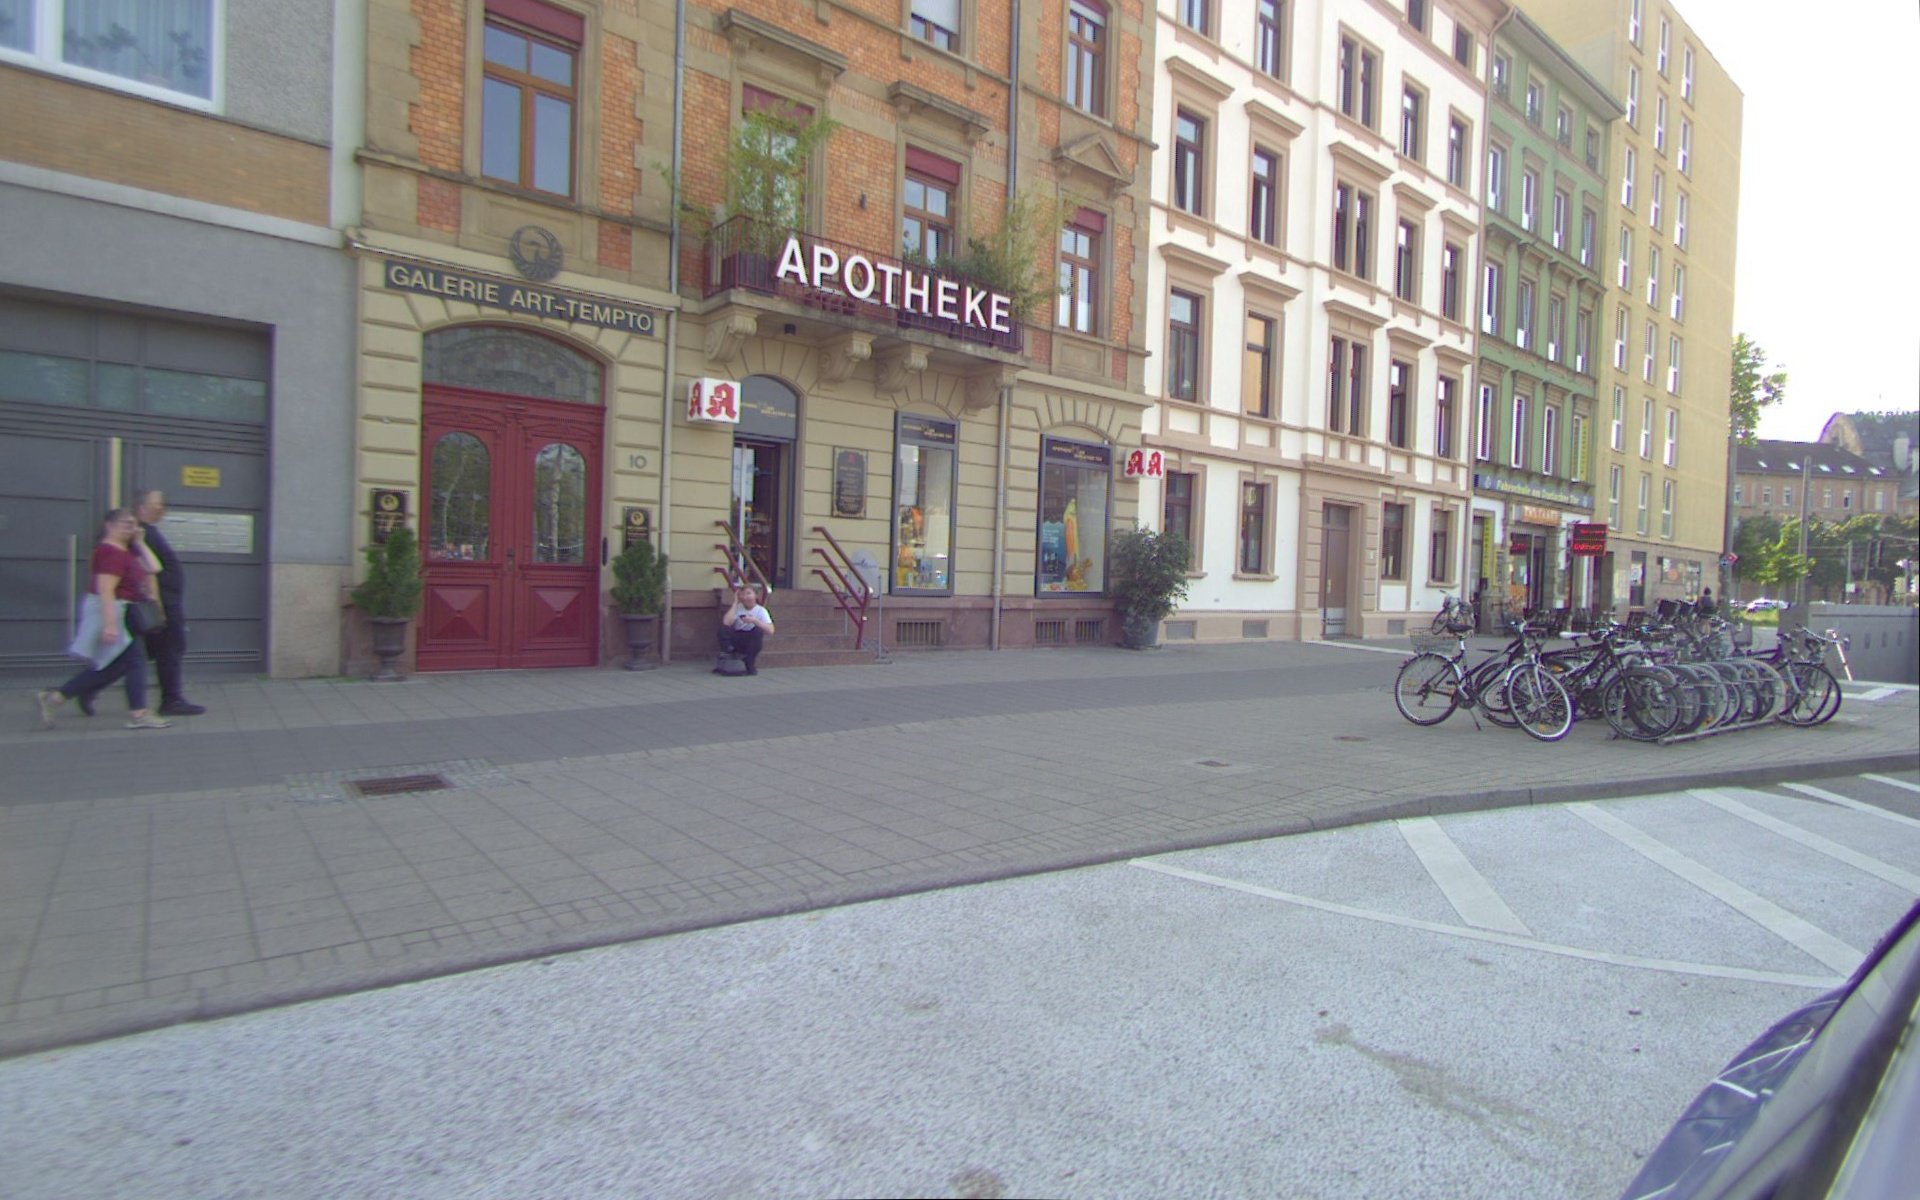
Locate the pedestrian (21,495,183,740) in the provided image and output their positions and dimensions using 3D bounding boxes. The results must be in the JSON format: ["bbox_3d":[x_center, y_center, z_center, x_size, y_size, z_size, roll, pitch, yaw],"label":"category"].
[{"bbox_3d":[-6.122,0.105,7.268,0.840,1.630,0.722,0,2,-38],"label":"pedestrian"}]

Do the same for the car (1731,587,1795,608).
[{"bbox_3d":[62.580,-0.182,78.961,1.766,1.459,3.637,2,2,-8],"label":"car"}]

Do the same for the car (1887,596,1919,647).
[{"bbox_3d":[30.612,0.697,30.568,3.471,1.482,1.619,1,2,10],"label":"car"}]

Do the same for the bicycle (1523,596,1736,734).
[{"bbox_3d":[6.412,0.579,9.765,0.379,1.162,1.635,0,2,-43],"label":"bicycle"}]

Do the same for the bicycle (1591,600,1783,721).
[{"bbox_3d":[7.946,0.622,11.119,0.379,1.162,1.635,0,2,-43],"label":"bicycle"}]

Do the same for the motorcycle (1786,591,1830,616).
[{"bbox_3d":[41.747,0.192,49.820,2.253,1.161,0.707,1,2,-23],"label":"motorcycle"}]

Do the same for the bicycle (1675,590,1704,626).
[{"bbox_3d":[27.025,0.300,37.474,0.602,1.276,1.966,3,2,43],"label":"bicycle"}]

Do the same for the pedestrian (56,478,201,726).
[{"bbox_3d":[-6.487,0.000,7.937,0.840,1.809,0.722,0,2,-38],"label":"pedestrian"}]

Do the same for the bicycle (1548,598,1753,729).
[{"bbox_3d":[6.928,0.595,10.230,0.379,1.162,1.635,0,2,-43],"label":"bicycle"}]

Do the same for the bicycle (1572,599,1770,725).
[{"bbox_3d":[7.437,0.609,10.655,0.379,1.162,1.635,0,2,-43],"label":"bicycle"}]

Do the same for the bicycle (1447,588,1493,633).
[{"bbox_3d":[13.398,0.274,26.581,1.688,1.148,0.384,0,2,-39],"label":"bicycle"}]

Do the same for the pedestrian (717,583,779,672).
[{"bbox_3d":[-2.496,0.313,11.885,0.623,0.994,0.615,1,2,-19],"label":"pedestrian"}]

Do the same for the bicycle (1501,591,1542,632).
[{"bbox_3d":[16.109,0.328,29.024,1.688,1.148,0.384,0,2,-39],"label":"bicycle"}]

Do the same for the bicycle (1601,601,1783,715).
[{"bbox_3d":[8.489,0.634,11.798,0.379,1.162,1.635,0,2,-43],"label":"bicycle"}]

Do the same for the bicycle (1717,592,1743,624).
[{"bbox_3d":[31.355,0.314,41.217,1.607,1.276,0.470,0,2,-40],"label":"bicycle"}]

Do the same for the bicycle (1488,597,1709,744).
[{"bbox_3d":[5.792,0.592,9.259,0.379,1.162,1.635,0,2,-43],"label":"bicycle"}]

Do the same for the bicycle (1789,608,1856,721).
[{"bbox_3d":[9.783,0.696,11.466,0.407,1.163,1.629,3,2,45],"label":"bicycle"}]

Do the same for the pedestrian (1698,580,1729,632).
[{"bbox_3d":[24.518,0.185,32.932,0.724,1.649,0.610,0,2,-38],"label":"pedestrian"}]

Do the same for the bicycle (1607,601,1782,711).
[{"bbox_3d":[8.799,0.638,12.180,0.379,1.162,1.635,0,2,-43],"label":"bicycle"}]

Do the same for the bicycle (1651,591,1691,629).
[{"bbox_3d":[25.150,0.337,35.773,1.961,1.276,0.604,0,2,-39],"label":"bicycle"}]

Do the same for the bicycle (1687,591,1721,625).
[{"bbox_3d":[28.584,0.304,38.884,1.816,1.276,0.604,0,2,-40],"label":"bicycle"}]

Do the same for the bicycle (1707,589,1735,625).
[{"bbox_3d":[27.901,0.238,37.093,0.602,1.276,1.966,3,2,43],"label":"bicycle"}]

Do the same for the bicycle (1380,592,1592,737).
[{"bbox_3d":[4.859,0.546,9.450,0.590,1.162,1.638,0,2,-36],"label":"bicycle"}]
